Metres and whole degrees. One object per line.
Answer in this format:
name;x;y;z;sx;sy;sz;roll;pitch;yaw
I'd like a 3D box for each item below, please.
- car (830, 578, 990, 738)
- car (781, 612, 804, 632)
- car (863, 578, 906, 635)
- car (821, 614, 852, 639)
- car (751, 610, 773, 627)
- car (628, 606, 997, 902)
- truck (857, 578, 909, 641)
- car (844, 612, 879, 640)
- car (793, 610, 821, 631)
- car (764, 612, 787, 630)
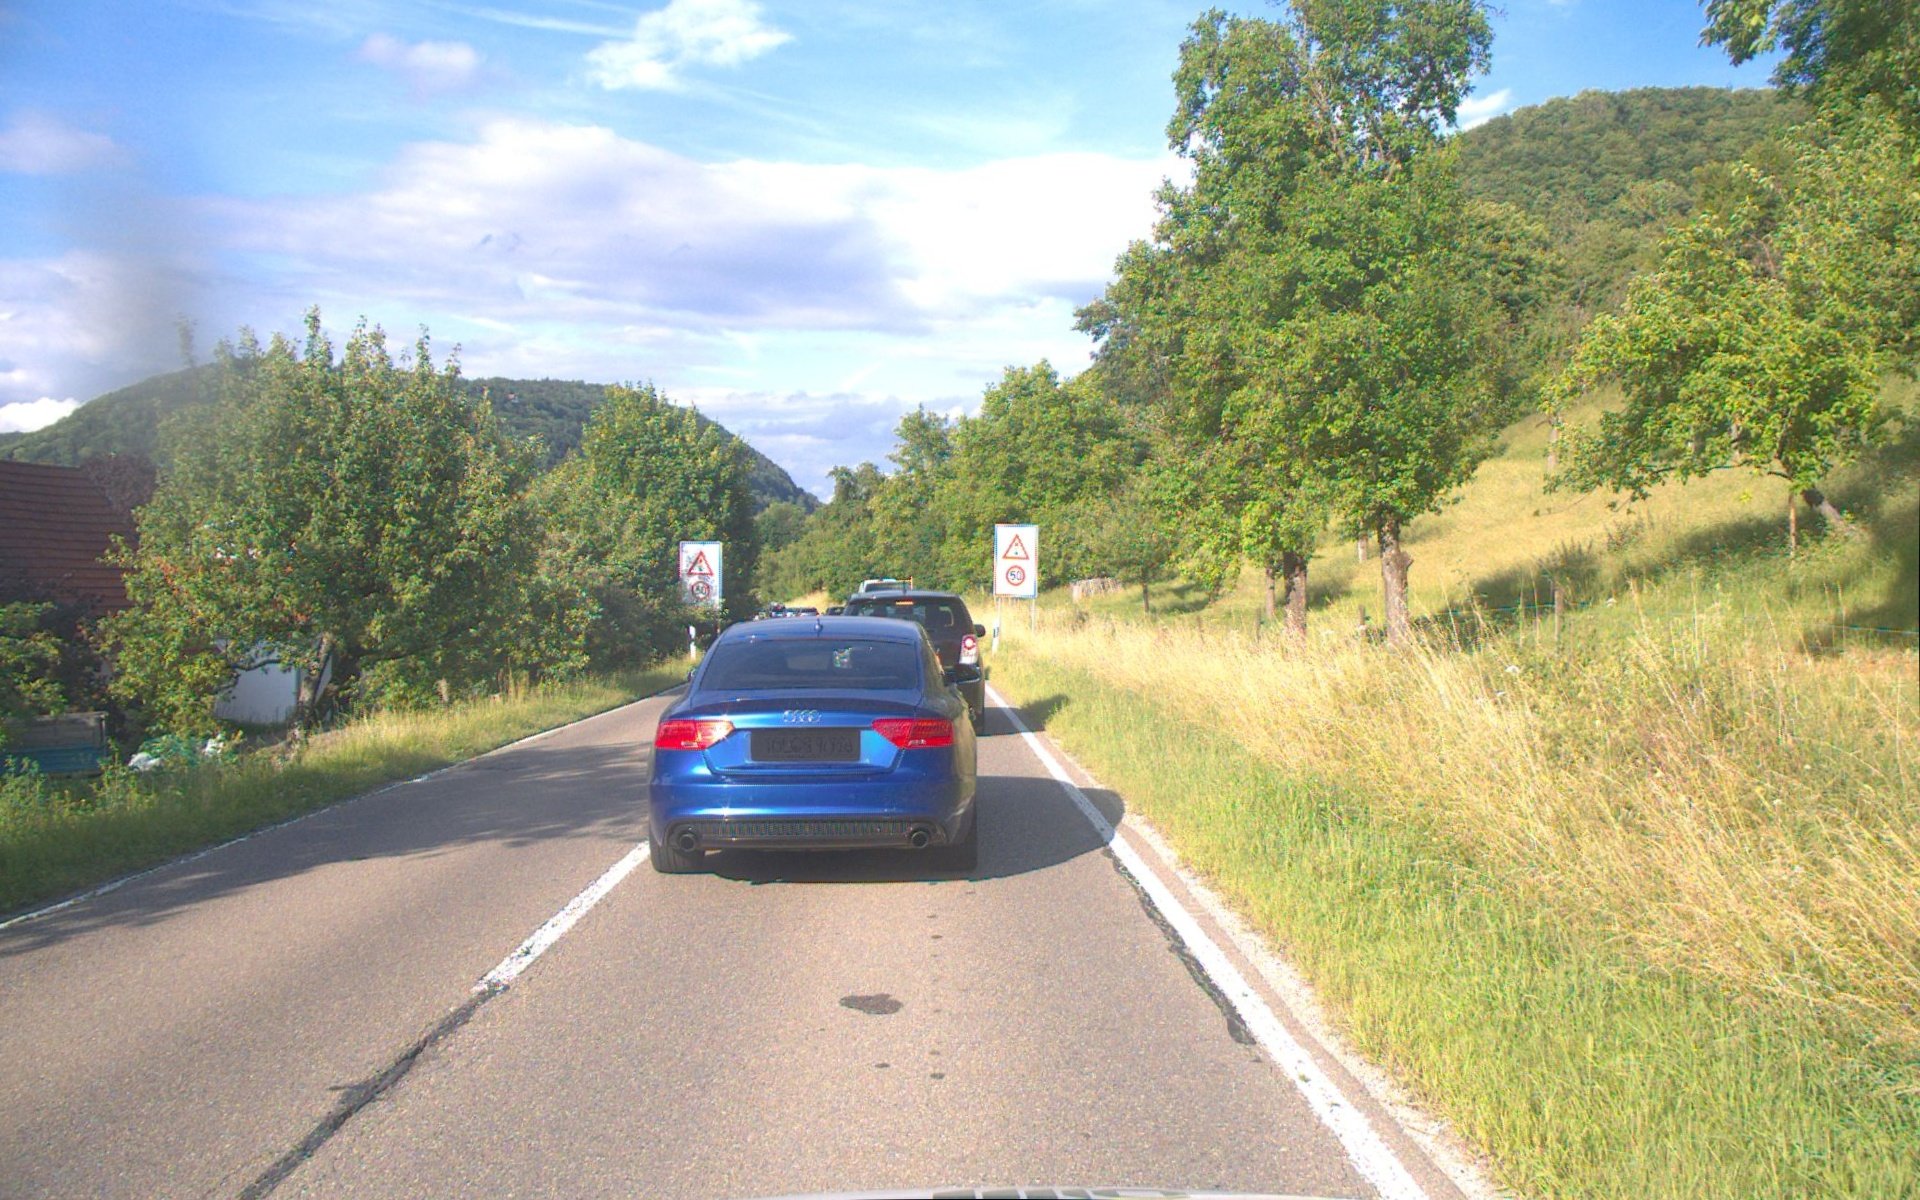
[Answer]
car;-0.579;0.605;19.324;1.658;1.652;3.788;1;0;-2
car;-14.413;1.894;142.059;1.532;1.522;3.766;3;0;-13
car;-3.511;0.272;76.456;1.757;2.496;3.916;2;0;-4
car;-8.353;1.786;111.783;1.716;1.522;3.769;3;0;-10
car;-18.957;1.778;158.339;1.532;1.522;3.765;3;0;-14
car;-0.753;0.752;10.107;1.769;1.406;4.213;-1;0;-1
truck;-3.092;0.364;66.855;1.911;2.386;5.091;2;0;-2
car;-5.822;1.517;97.292;1.715;1.522;3.772;3;0;-7
car;-12.349;1.663;133.390;1.717;1.522;3.767;3;0;-12
car;-16.794;1.878;150.384;1.532;1.522;3.765;3;0;-14
